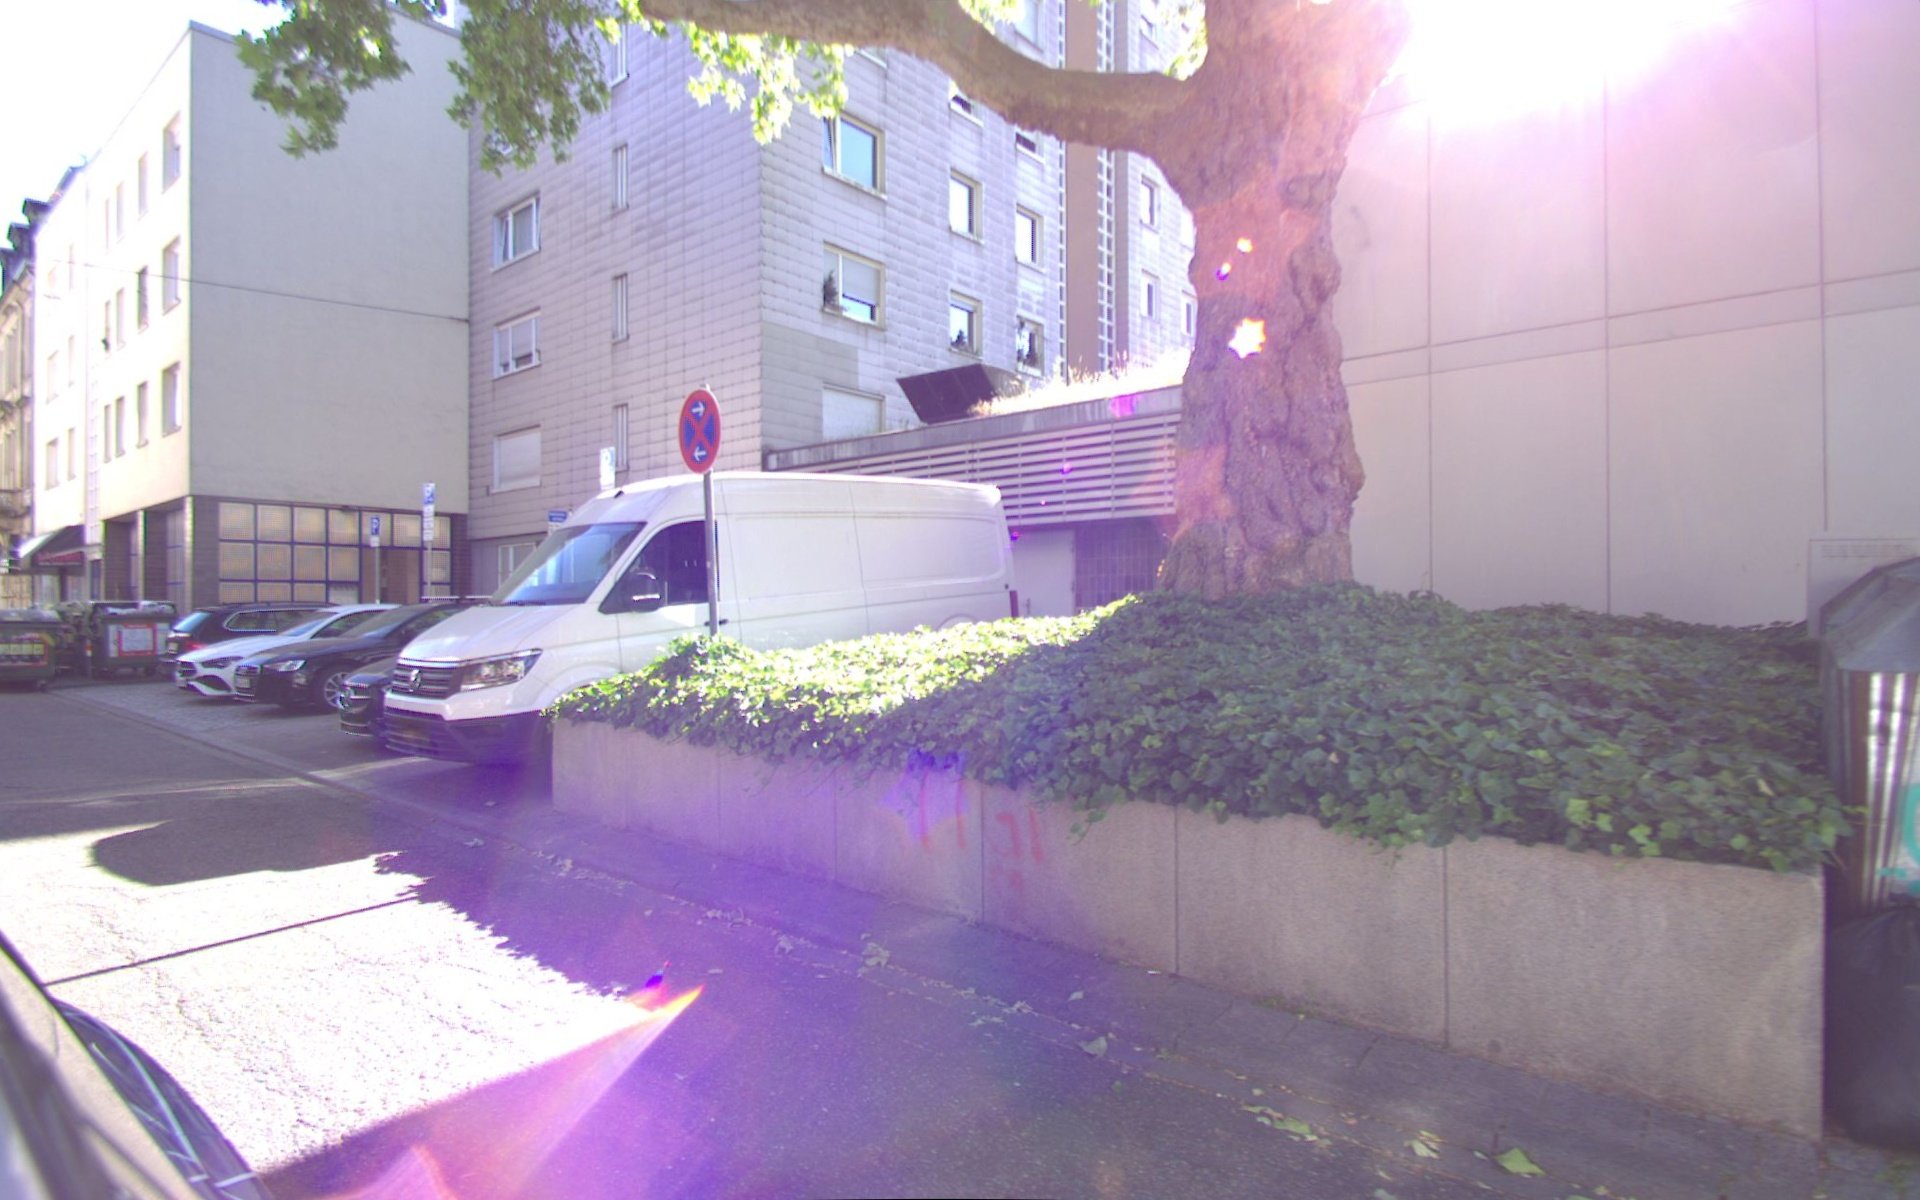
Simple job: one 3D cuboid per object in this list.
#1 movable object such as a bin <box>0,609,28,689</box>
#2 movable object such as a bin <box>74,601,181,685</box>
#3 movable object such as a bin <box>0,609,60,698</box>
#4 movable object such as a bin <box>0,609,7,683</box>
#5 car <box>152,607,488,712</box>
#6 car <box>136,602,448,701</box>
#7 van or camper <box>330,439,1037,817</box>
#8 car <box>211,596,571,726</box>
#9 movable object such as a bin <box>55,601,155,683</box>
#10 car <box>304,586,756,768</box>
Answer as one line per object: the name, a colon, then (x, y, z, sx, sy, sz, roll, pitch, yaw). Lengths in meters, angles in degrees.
movable object such as a bin: (-18.978, 0.930, 19.478, 1.923, 1.512, 1.231, -1, -1, 38)
movable object such as a bin: (-15.593, 0.779, 18.964, 1.193, 1.512, 1.312, -1, -1, 38)
movable object such as a bin: (-17.046, 0.930, 18.043, 1.876, 1.512, 1.225, -1, -2, 40)
movable object such as a bin: (-20.387, 0.938, 20.619, 1.558, 1.512, 1.207, -1, -1, 38)
car: (-10.188, 0.864, 16.464, 1.595, 1.474, 4.367, -1, -1, 34)
car: (-11.732, 0.830, 18.095, 1.694, 1.545, 4.367, -1, -1, 34)
van or camper: (-2.092, 0.048, 10.176, 1.999, 2.593, 6.835, -2, 2, 40)
car: (-8.157, 0.787, 14.934, 1.694, 1.629, 4.367, -1, -1, 34)
movable object such as a bin: (-16.718, 0.796, 19.793, 1.515, 1.512, 1.207, -1, -1, 38)
car: (-4.560, 0.685, 11.346, 1.697, 1.545, 4.361, -1, 1, 39)
